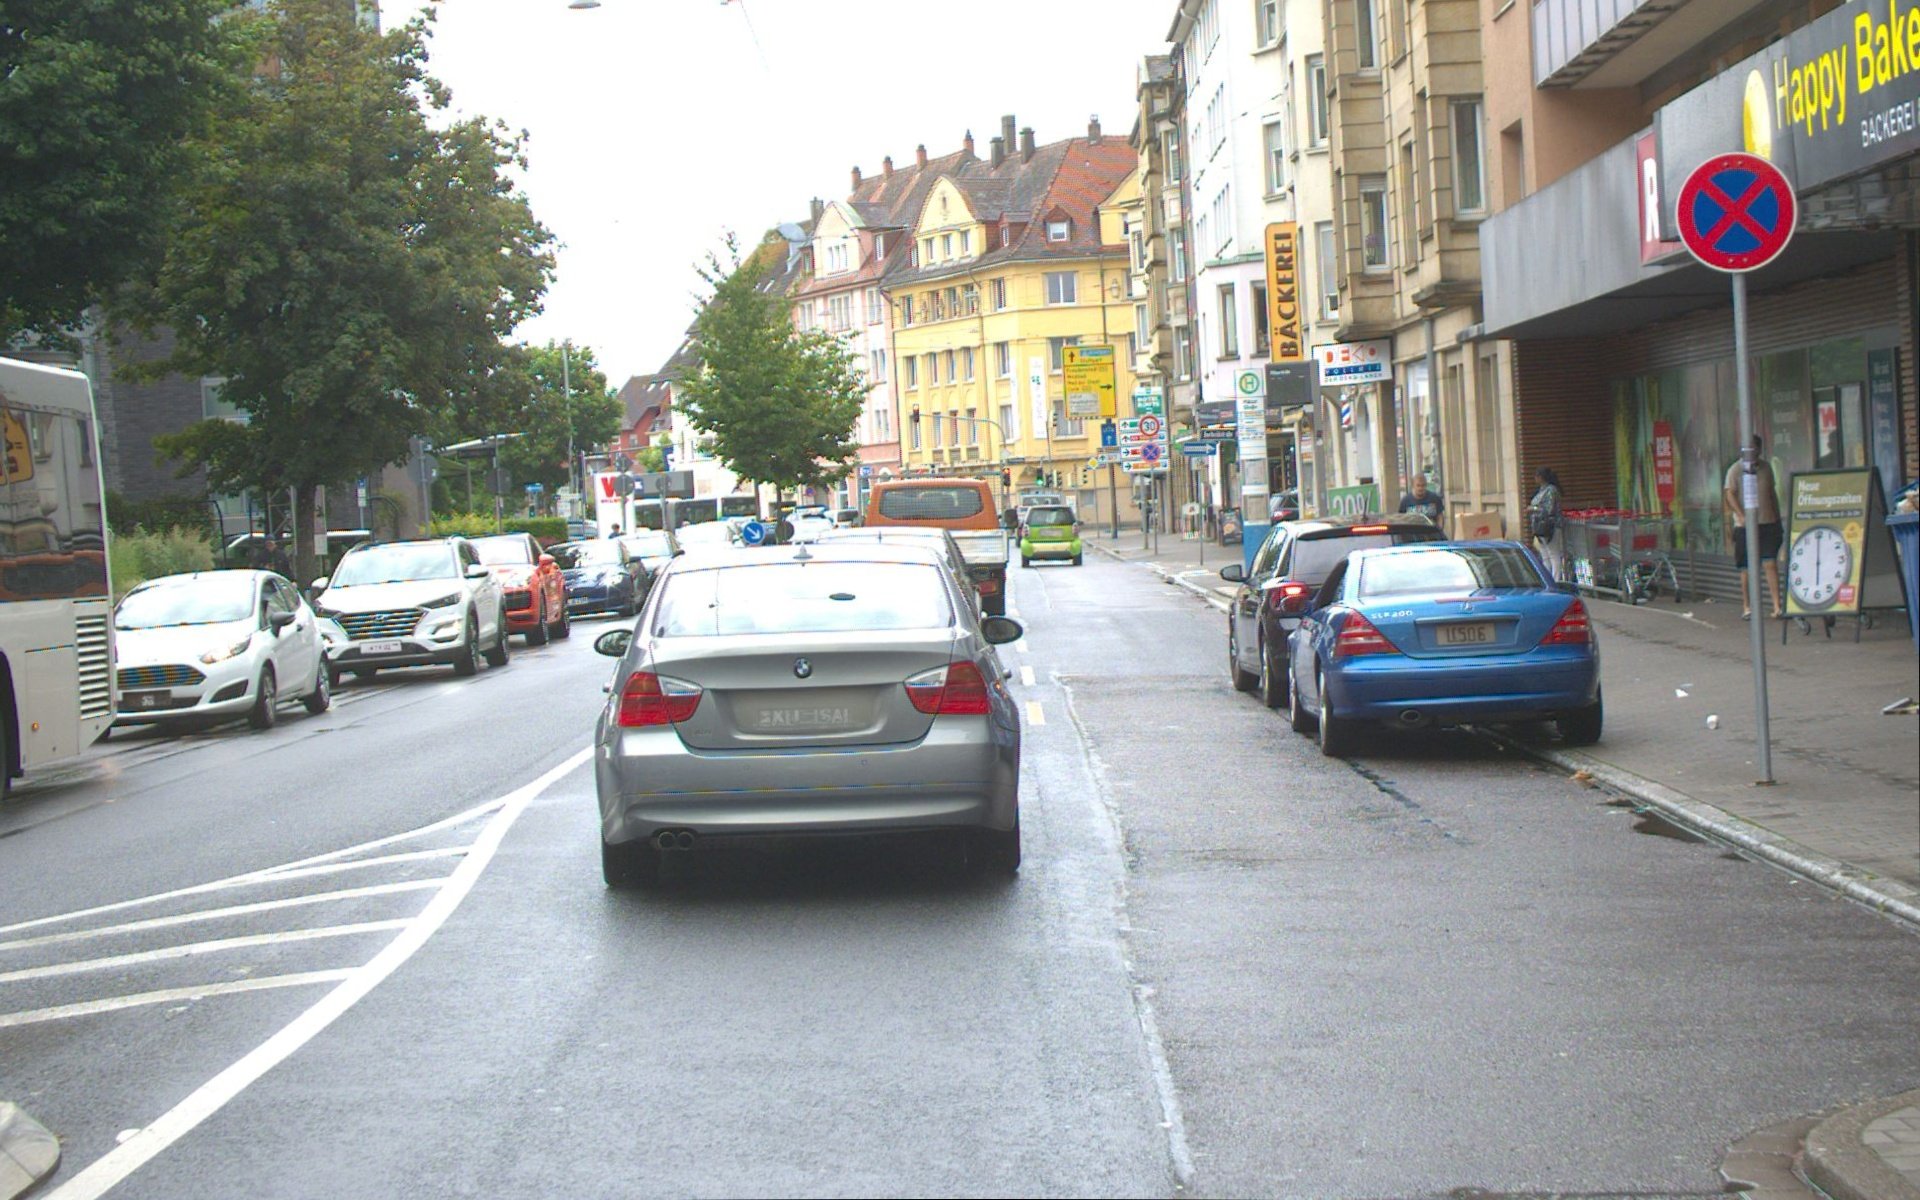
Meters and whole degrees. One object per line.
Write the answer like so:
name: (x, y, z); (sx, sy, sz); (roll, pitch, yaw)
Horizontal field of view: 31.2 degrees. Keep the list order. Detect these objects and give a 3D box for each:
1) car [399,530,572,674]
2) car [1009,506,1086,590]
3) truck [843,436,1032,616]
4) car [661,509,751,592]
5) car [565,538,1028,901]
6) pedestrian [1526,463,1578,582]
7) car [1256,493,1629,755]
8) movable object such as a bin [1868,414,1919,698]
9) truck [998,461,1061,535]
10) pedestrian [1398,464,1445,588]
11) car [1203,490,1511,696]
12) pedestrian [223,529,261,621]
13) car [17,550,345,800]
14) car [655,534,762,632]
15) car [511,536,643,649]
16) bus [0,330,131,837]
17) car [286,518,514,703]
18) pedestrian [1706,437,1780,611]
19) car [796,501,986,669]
car: (-6.862, 0.047, 50.081); (1.993, 2.007, 4.000); (0, -1, 0)
car: (2.180, -1.278, 86.128); (1.705, 2.007, 4.000); (0, -1, -2)
truck: (-0.329, -0.880, 43.152); (2.215, 2.109, 4.652); (1, 0, -2)
car: (-6.429, -1.225, 87.362); (1.993, 2.007, 4.000); (0, -1, 0)
car: (-0.618, 0.434, 14.883); (1.756, 1.358, 3.165); (-2, 1, 1)
pedestrian: (7.184, -0.933, 41.685); (0.565, 1.416, 0.795); (0, -1, 14)
car: (3.005, 0.111, 22.192); (1.809, 1.514, 4.000); (-1, 1, 0)
movable object such as a bin: (6.326, -0.294, 20.833); (1.122, 1.697, 1.434); (-4, -1, -2)
truck: (2.547, -3.753, 127.270); (2.216, 2.536, 4.780); (0, -1, 0)
pedestrian: (5.335, -0.847, 39.754); (0.522, 1.416, 0.430); (0, -1, 10)
car: (3.136, -0.065, 27.926); (1.993, 1.514, 4.000); (-1, 0, 0)
pedestrian: (-15.780, -0.544, 75.546); (0.797, 2.007, 0.536); (0, -1, -13)
car: (-7.045, 0.661, 31.510); (1.993, 2.007, 4.000); (-4, -1, 0)
car: (-5.288, -0.325, 72.830); (1.993, 2.007, 4.000); (0, -1, 0)
car: (-6.959, -0.113, 62.799); (1.993, 2.007, 4.000); (0, -1, 0)
bus: (-7.344, -0.023, 18.663); (2.681, 3.189, 11.956); (-4, 0, 0)
car: (-6.450, 0.137, 40.013); (1.993, 2.007, 4.000); (1, -1, 0)
pedestrian: (7.588, -0.726, 33.327); (0.615, 1.655, 0.754); (0, -1, 7)
car: (-0.629, -0.113, 30.723); (1.601, 1.415, 3.288); (0, -1, -2)
